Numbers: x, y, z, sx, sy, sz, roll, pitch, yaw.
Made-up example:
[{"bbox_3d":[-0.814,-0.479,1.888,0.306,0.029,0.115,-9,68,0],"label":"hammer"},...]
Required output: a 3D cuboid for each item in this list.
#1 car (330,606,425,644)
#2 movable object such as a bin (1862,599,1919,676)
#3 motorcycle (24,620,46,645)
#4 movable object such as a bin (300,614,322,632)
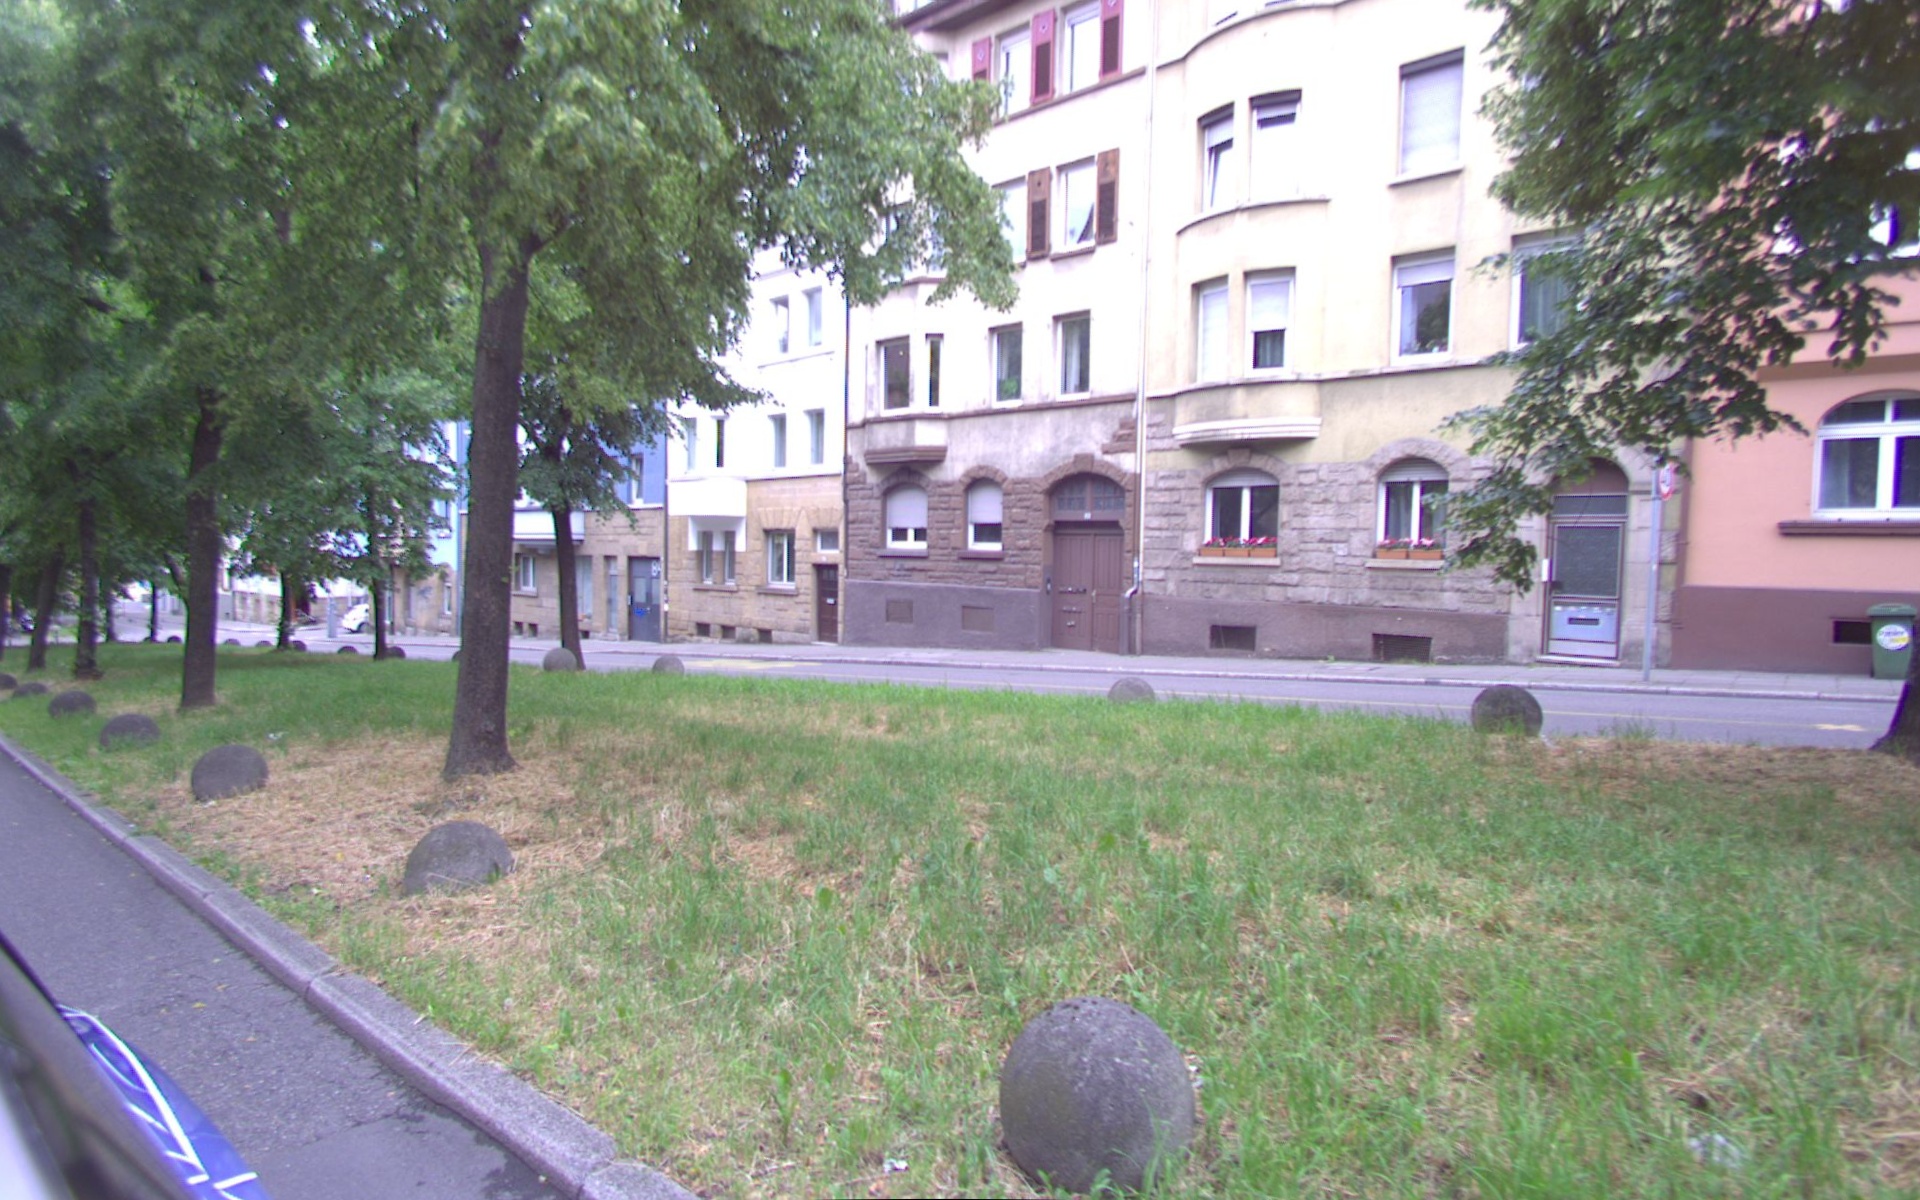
[{"bbox_3d":[-31.445,1.314,54.718,1.869,1.480,3.960,2,7,39],"label":"car"},{"bbox_3d":[11.637,0.458,12.557,0.600,0.911,0.603,-1,1,38],"label":"movable object such as a bin"},{"bbox_3d":[-46.458,1.614,50.823,0.740,1.081,1.854,-2,3,-41],"label":"motorcycle"},{"bbox_3d":[-37.696,1.334,58.816,0.668,1.001,0.877,0,3,40],"label":"movable object such as a bin"}]
